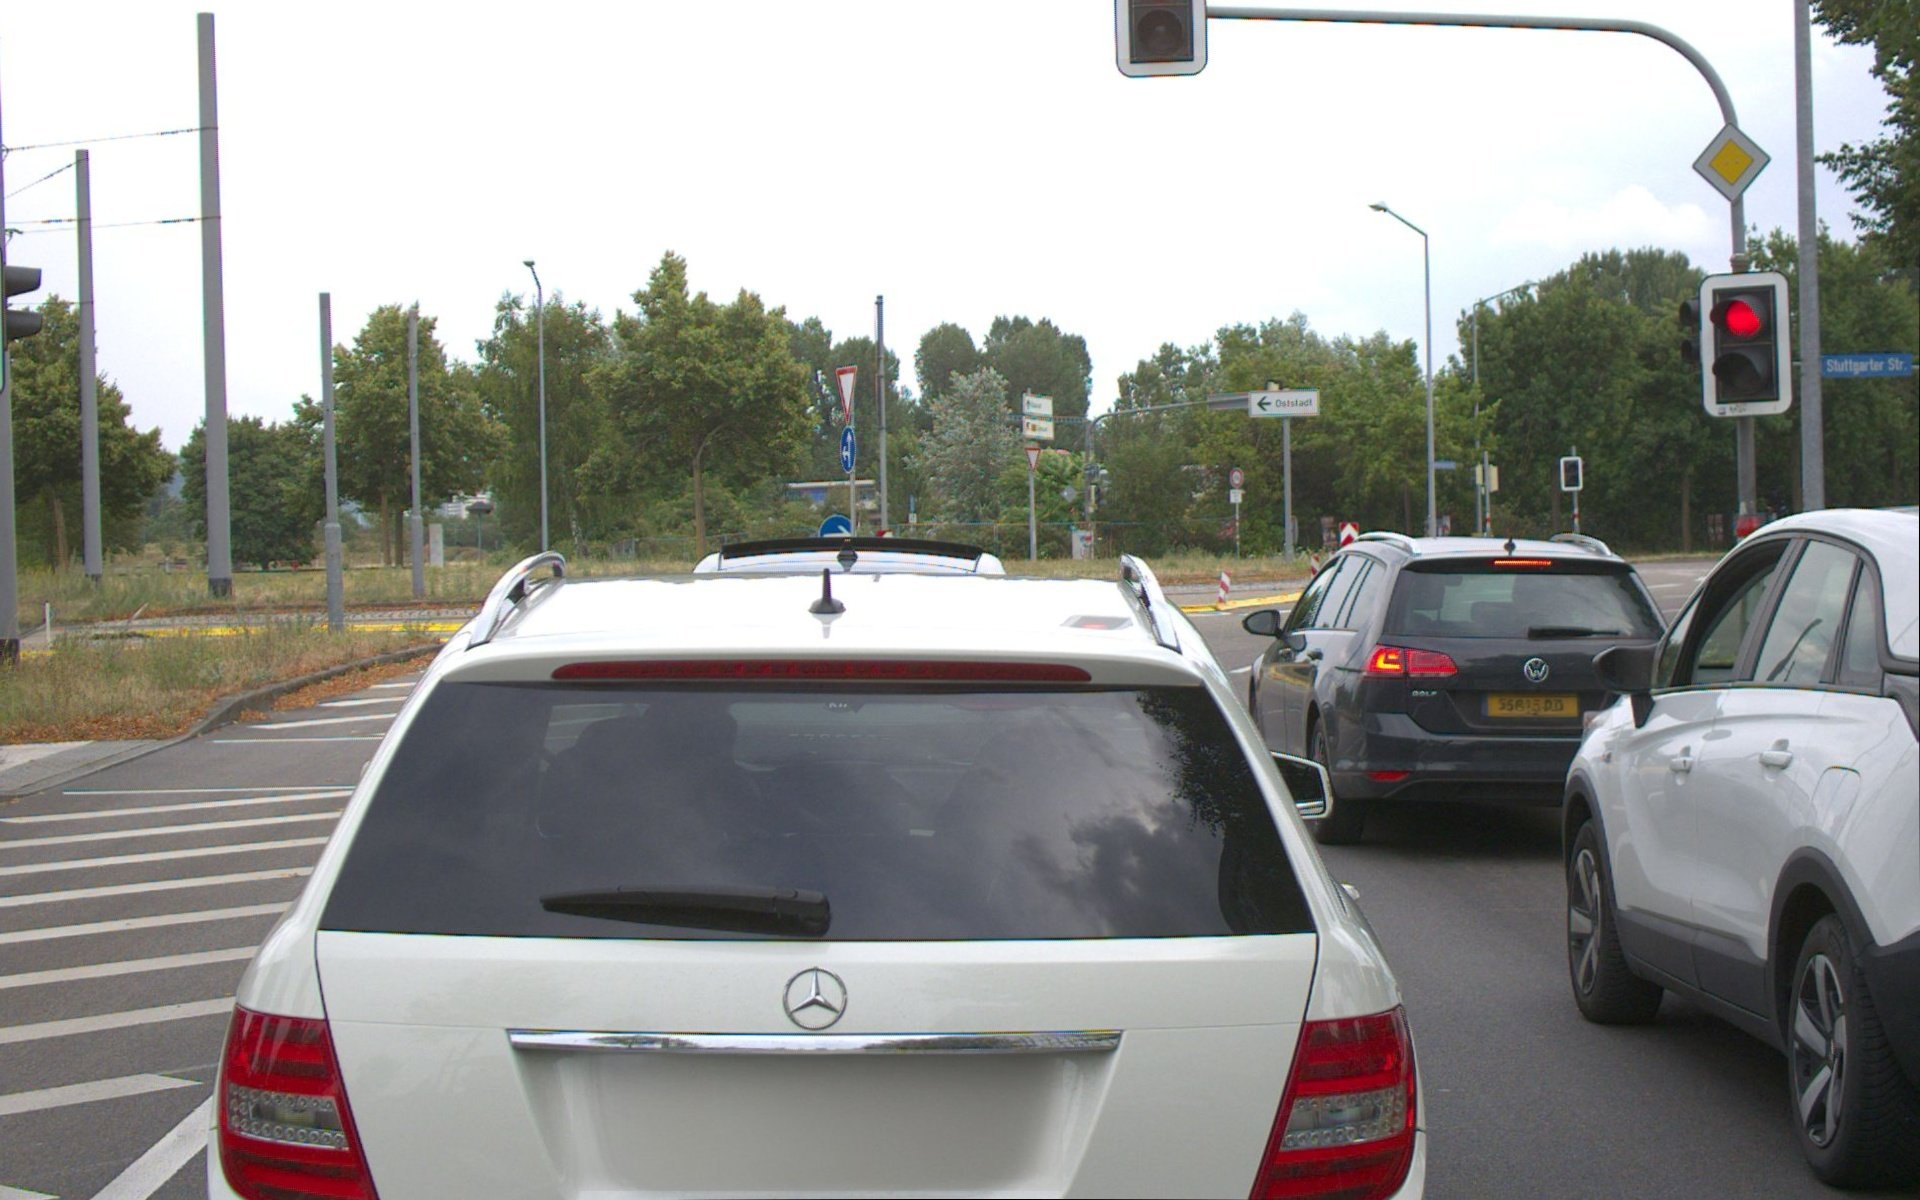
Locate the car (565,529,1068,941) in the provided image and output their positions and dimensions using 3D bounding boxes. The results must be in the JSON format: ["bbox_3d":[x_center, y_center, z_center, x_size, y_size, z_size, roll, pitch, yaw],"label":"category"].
[{"bbox_3d":[-0.593,0.441,14.151,1.773,1.443,3.911,0,1,-2],"label":"car"}]

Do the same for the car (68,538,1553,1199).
[{"bbox_3d":[-0.260,0.627,6.079,1.773,1.443,3.911,0,1,-2],"label":"car"}]

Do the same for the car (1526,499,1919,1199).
[{"bbox_3d":[2.744,0.541,9.110,1.787,1.619,3.911,-1,1,0],"label":"car"}]

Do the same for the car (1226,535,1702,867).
[{"bbox_3d":[2.379,0.412,17.144,1.624,1.443,3.911,0,1,-2],"label":"car"}]
